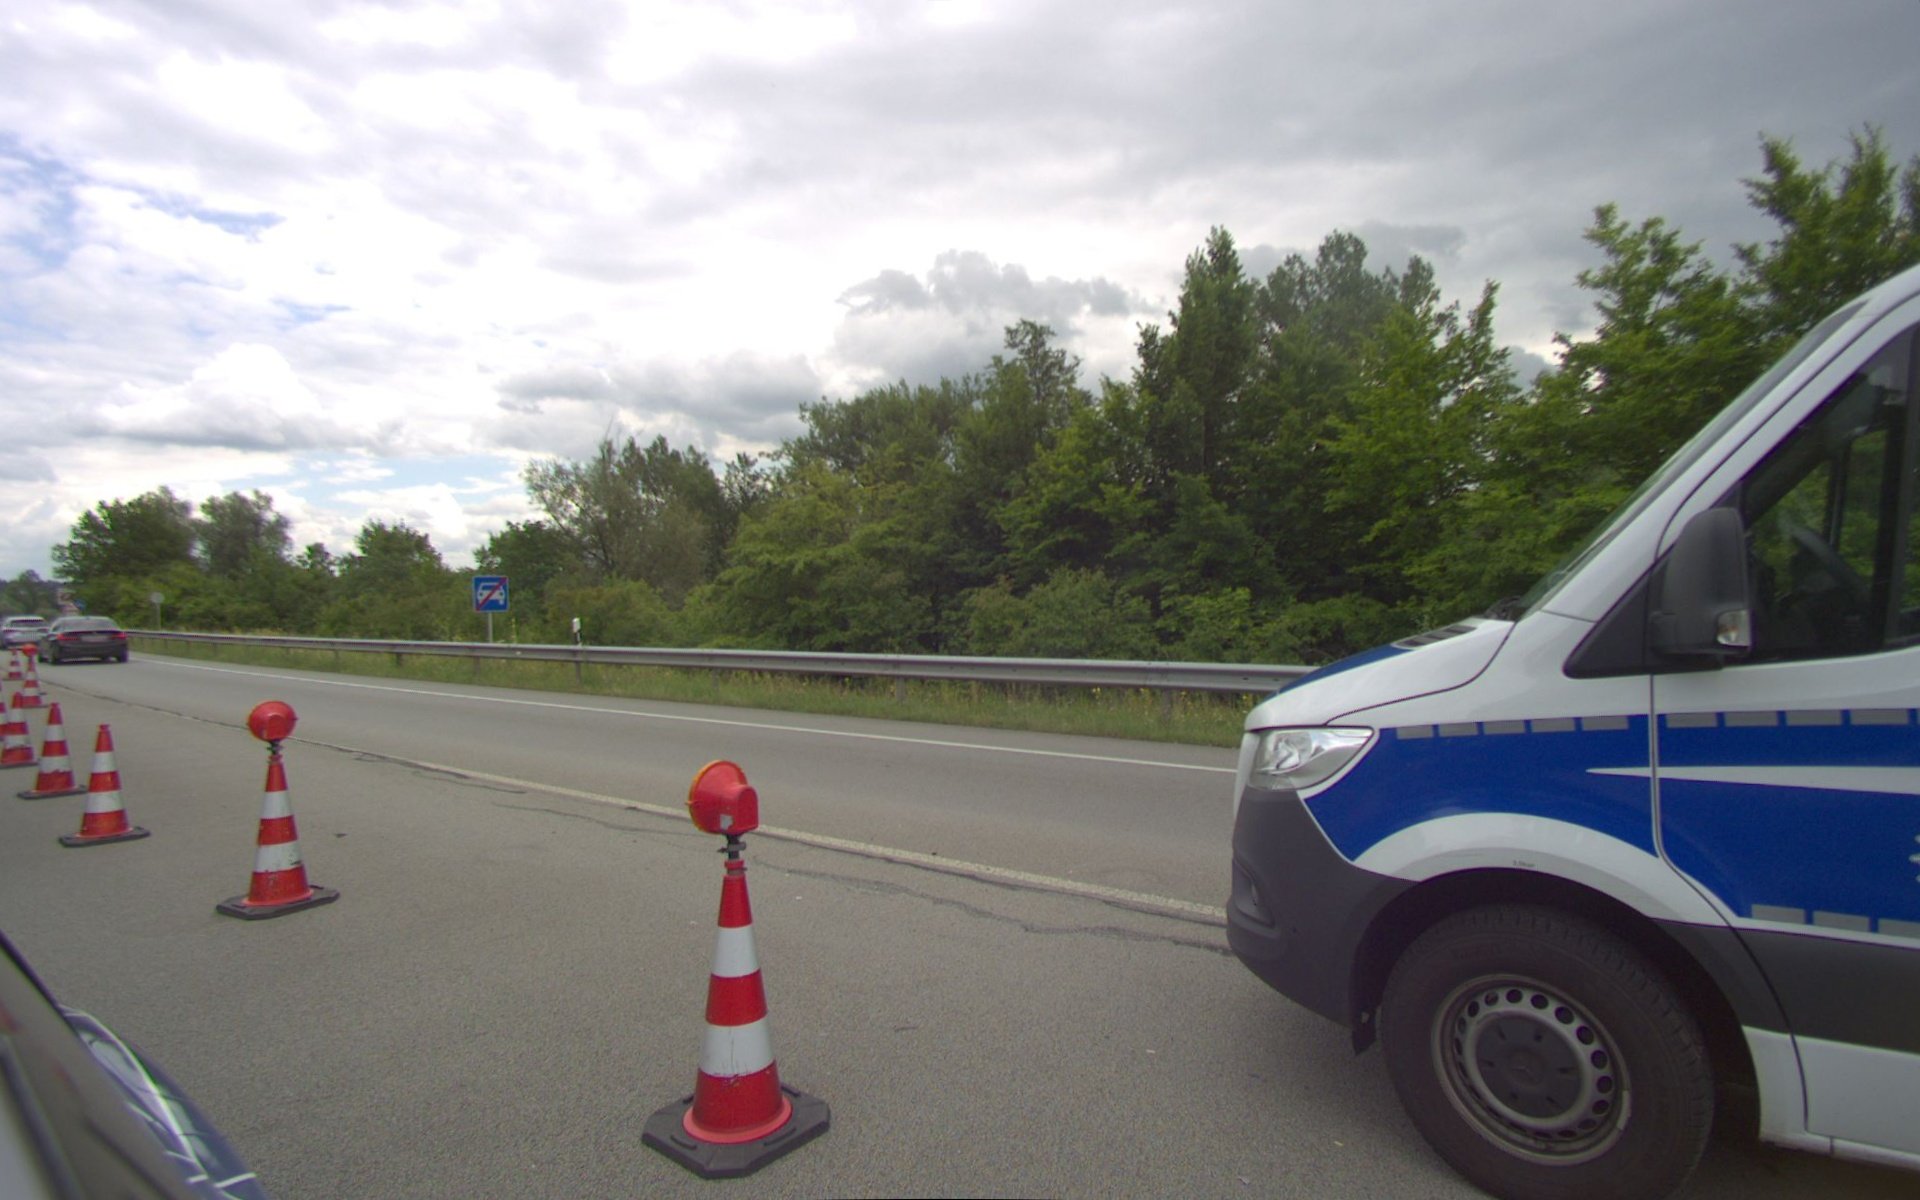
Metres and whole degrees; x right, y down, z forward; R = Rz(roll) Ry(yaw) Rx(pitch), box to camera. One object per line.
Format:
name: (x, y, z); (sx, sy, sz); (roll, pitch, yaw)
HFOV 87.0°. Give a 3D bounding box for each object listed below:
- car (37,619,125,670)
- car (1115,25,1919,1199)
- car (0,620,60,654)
car: (-27.354, 1.323, 31.454); (4.338, 1.447, 1.690); (-1, -1, 44)
car: (3.152, 0.140, 2.134); (5.272, 2.482, 2.010); (-1, -1, 38)
car: (-41.217, 1.614, 44.593); (4.370, 1.412, 1.662); (-1, -1, 39)
